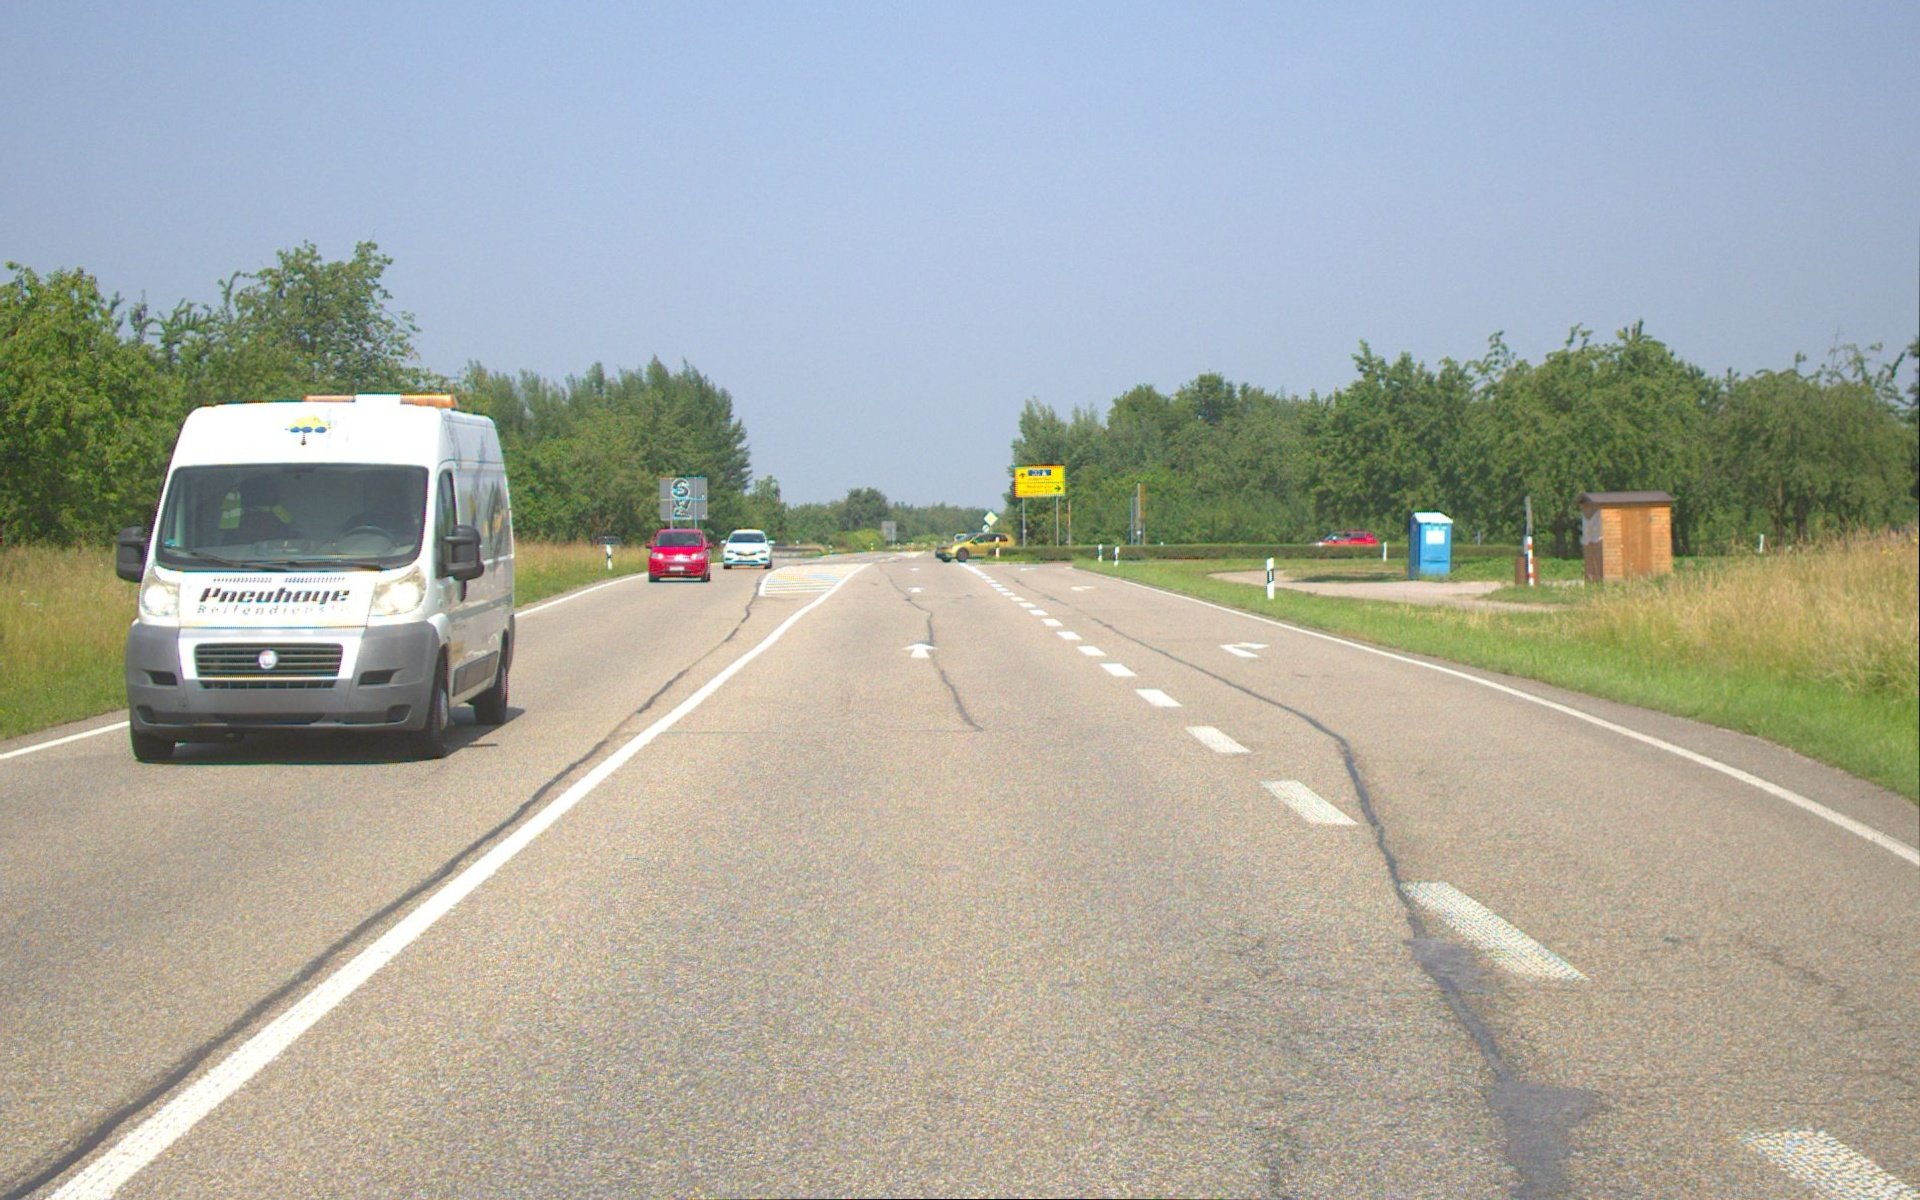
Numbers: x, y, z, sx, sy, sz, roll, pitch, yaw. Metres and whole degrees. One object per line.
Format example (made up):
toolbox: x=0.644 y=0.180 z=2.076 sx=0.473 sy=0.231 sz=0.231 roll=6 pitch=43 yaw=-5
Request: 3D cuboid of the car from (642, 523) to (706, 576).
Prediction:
car: x=-7.985 y=-1.432 z=96.078 sx=1.625 sy=1.452 sz=3.622 roll=0 pitch=1 yaw=-2

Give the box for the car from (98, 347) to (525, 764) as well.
car: x=-4.527 y=-0.318 z=25.036 sx=2.161 sy=2.659 sz=6.144 roll=0 pitch=1 yaw=-2

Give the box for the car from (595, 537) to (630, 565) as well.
car: x=-18.155 y=-2.562 z=179.638 sx=1.704 sy=1.418 sz=4.044 roll=-1 pitch=1 yaw=-5

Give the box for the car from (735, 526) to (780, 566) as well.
car: x=-7.668 y=-2.066 z=130.516 sx=1.674 sy=1.489 sz=4.138 roll=0 pitch=1 yaw=-3
